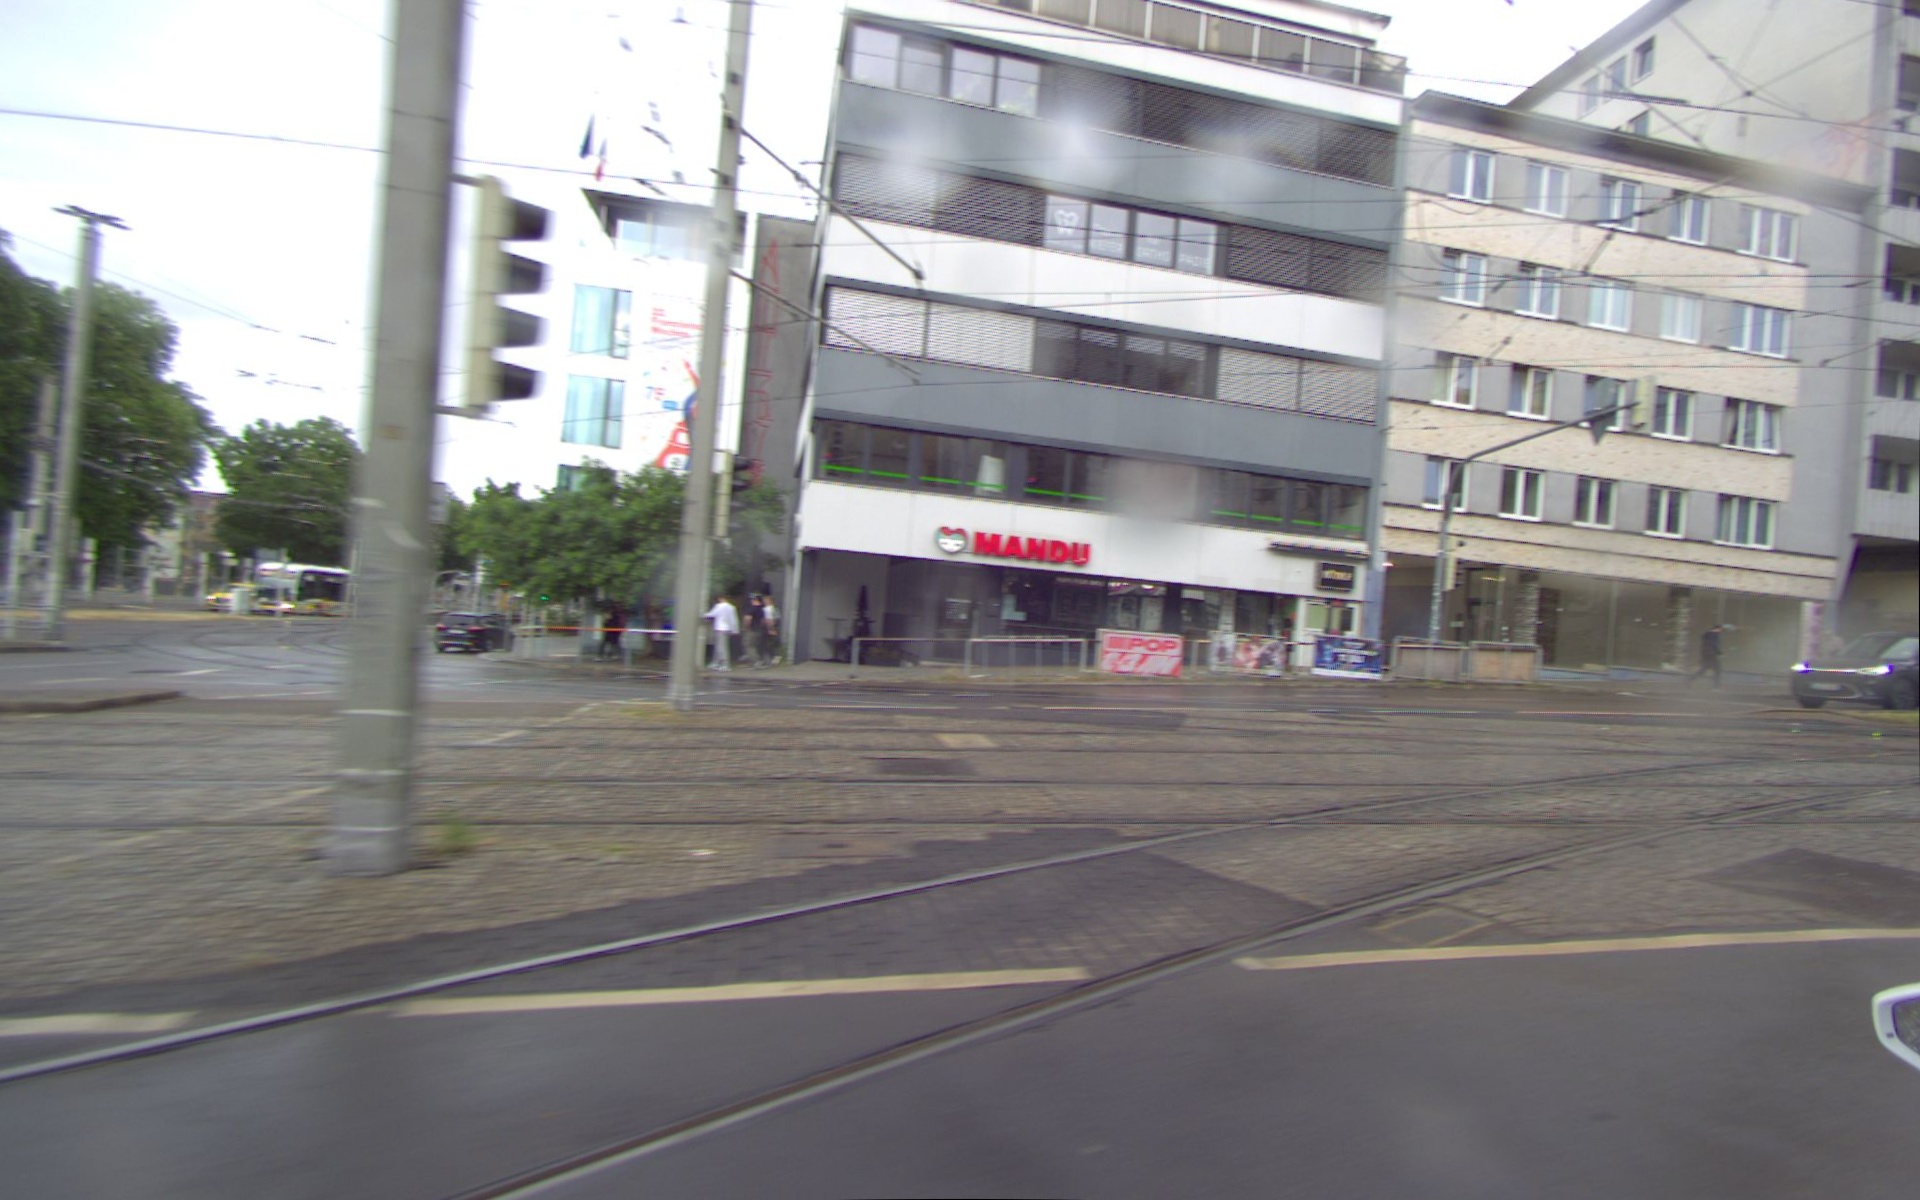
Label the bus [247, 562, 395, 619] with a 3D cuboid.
[{"bbox_3d":[-43.104,-0.561,68.478,3.029,3.344,12.511,3,-1,-6],"label":"bus"}]

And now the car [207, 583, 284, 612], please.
[{"bbox_3d":[-45.416,-0.115,63.986,1.963,1.667,4.531,3,-1,-7],"label":"car"}]

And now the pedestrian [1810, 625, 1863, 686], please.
[{"bbox_3d":[25.361,1.589,29.080,0.981,1.703,0.679,2,0,-13],"label":"pedestrian"}]

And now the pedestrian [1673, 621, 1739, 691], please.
[{"bbox_3d":[19.051,1.413,25.679,0.978,1.703,0.891,2,0,3],"label":"pedestrian"}]

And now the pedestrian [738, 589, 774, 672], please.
[{"bbox_3d":[-4.953,0.737,24.412,0.685,1.939,0.718,3,0,-7],"label":"pedestrian"}]

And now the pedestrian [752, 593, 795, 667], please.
[{"bbox_3d":[-4.658,0.753,25.099,0.708,1.785,0.695,3,-1,37],"label":"pedestrian"}]

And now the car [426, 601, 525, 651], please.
[{"bbox_3d":[-18.372,0.943,38.324,2.005,1.605,4.386,5,0,-8],"label":"car"}]

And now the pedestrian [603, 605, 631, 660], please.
[{"bbox_3d":[-10.230,0.970,29.964,0.532,1.584,0.522,3,0,12],"label":"pedestrian"}]

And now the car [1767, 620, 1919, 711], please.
[{"bbox_3d":[19.259,1.335,20.470,4.447,1.695,1.996,2,-1,-11],"label":"car"}]

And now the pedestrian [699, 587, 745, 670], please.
[{"bbox_3d":[-5.757,0.688,24.275,0.706,1.939,0.697,3,0,30],"label":"pedestrian"}]
